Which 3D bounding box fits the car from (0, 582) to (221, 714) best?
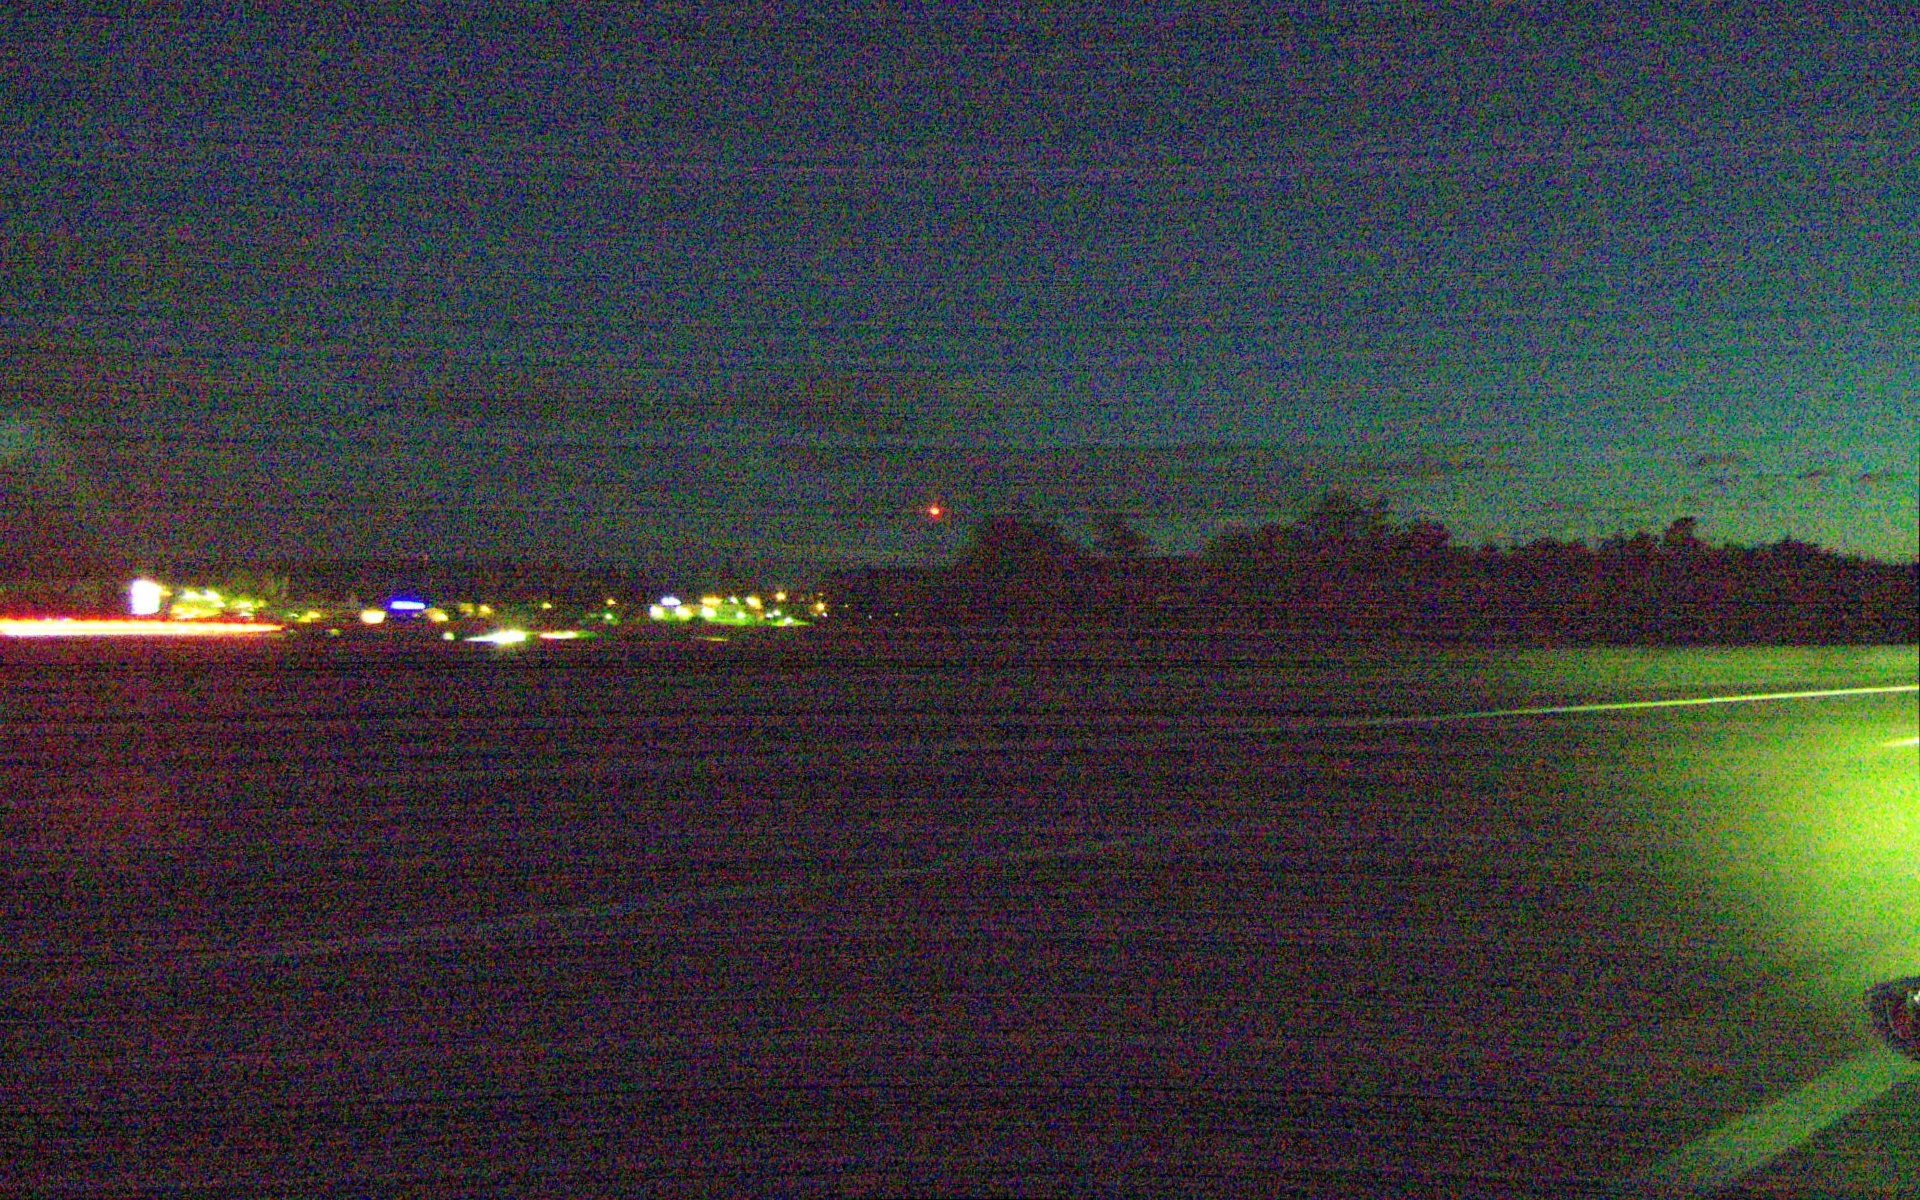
[{"bbox_3d":[-13.707,0.627,14.211,5.013,1.768,1.983,2,0,-31],"label":"car"}]
